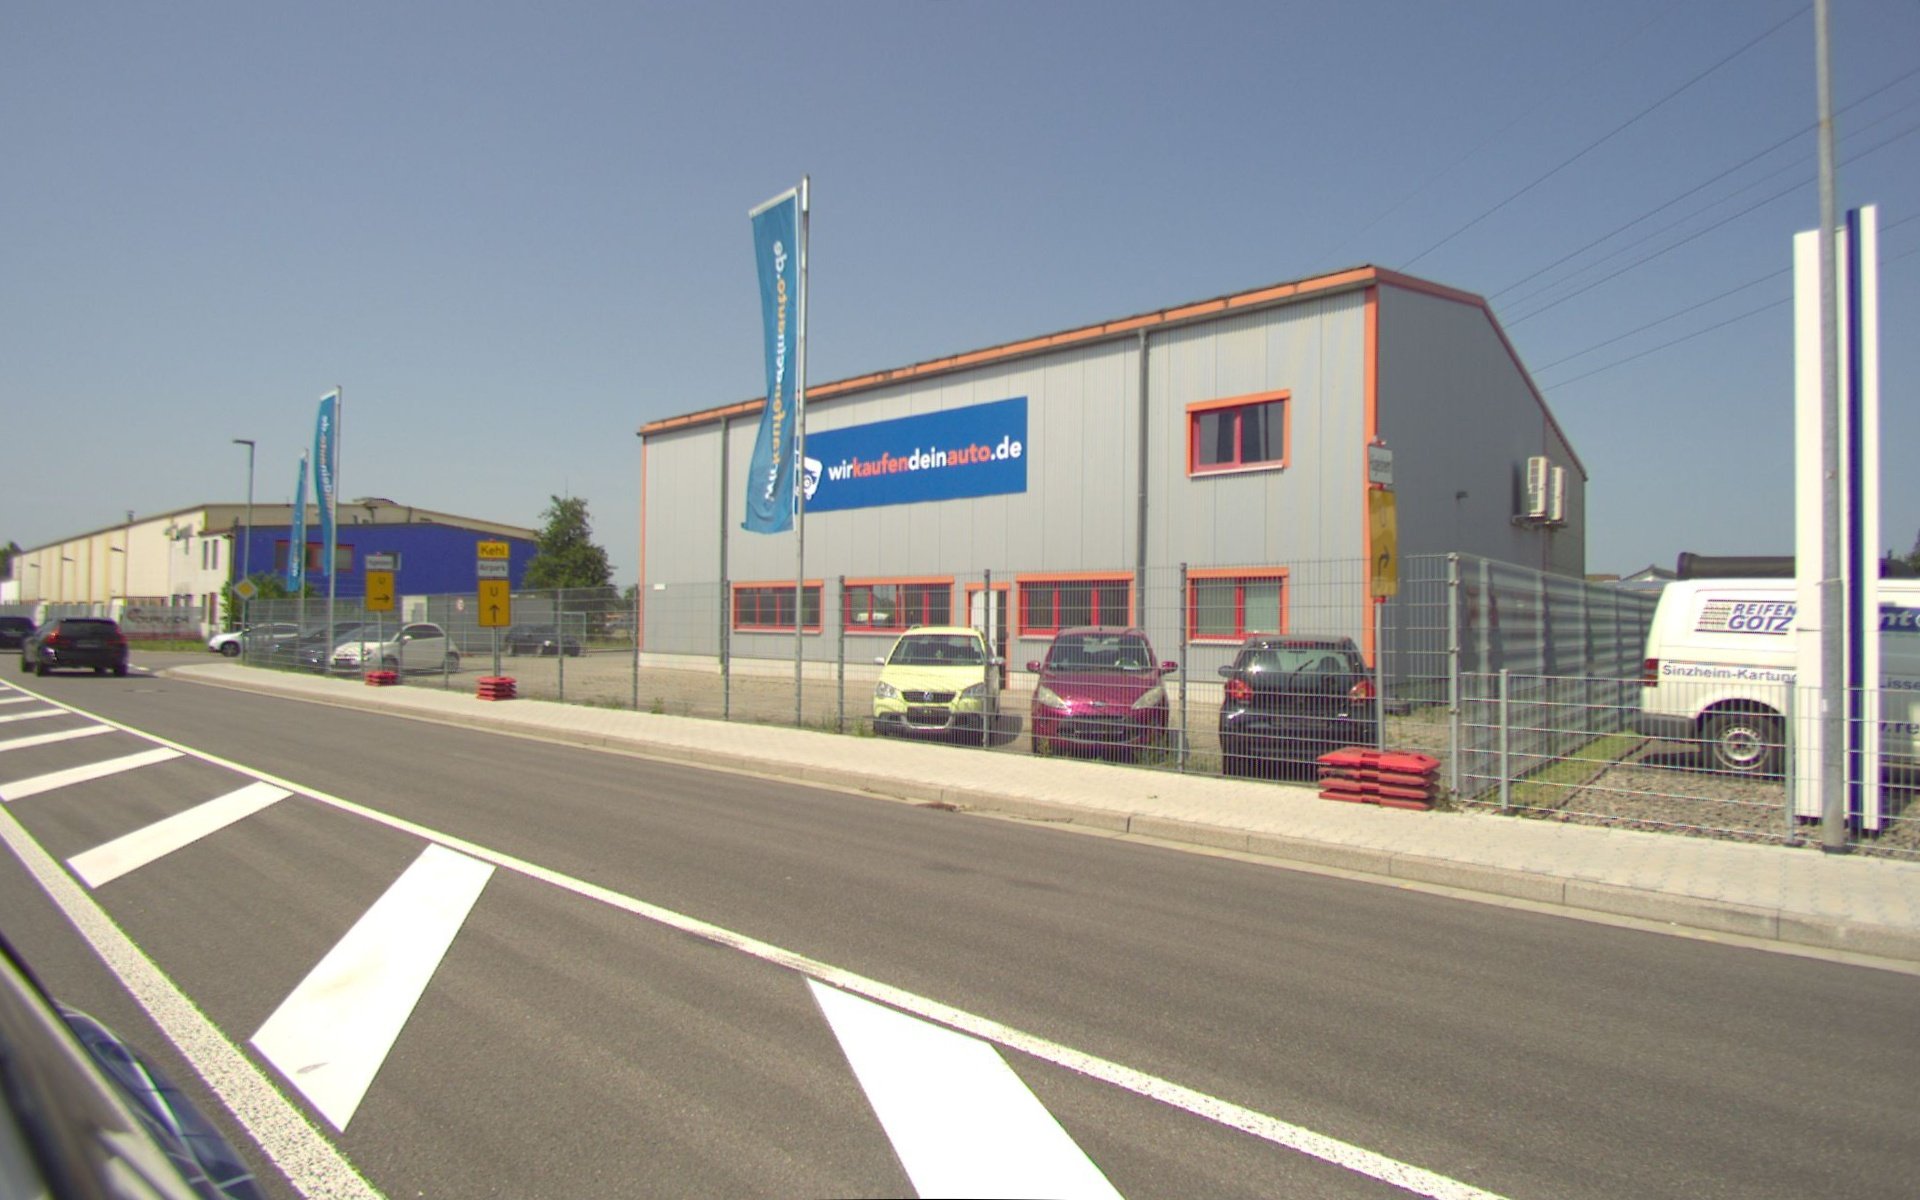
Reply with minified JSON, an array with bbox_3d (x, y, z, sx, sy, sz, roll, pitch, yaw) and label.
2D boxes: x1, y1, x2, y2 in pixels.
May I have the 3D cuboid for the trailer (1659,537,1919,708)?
[{"bbox_3d":[16.028,0.381,18.555,5.122,2.870,2.140,0,-1,41],"label":"trailer"}]

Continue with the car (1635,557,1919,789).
[{"bbox_3d":[9.238,0.671,9.434,4.680,2.029,1.972,0,-2,42],"label":"car"}]

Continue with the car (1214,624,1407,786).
[{"bbox_3d":[3.840,1.035,11.589,1.728,1.505,3.980,0,-2,15],"label":"car"}]

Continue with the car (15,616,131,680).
[{"bbox_3d":[-24.857,1.323,28.299,4.521,1.629,1.861,-1,-4,42],"label":"car"}]

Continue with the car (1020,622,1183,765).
[{"bbox_3d":[1.779,1.042,12.805,1.723,1.505,3.990,0,-2,8],"label":"car"}]

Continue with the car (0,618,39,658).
[{"bbox_3d":[-39.966,1.576,42.251,3.794,1.606,1.723,-1,-4,41],"label":"car"}]

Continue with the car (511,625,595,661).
[{"bbox_3d":[-17.932,1.878,44.509,3.997,1.514,1.751,-2,-3,40],"label":"car"}]

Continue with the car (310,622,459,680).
[{"bbox_3d":[-15.834,1.366,28.036,1.576,1.476,3.469,0,-2,15],"label":"car"}]

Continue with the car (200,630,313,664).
[{"bbox_3d":[-31.932,2.116,46.080,4.091,1.514,1.780,1,-2,-30],"label":"car"}]

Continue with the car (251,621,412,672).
[{"bbox_3d":[-19.948,1.472,32.256,1.772,1.514,3.949,-1,-3,37],"label":"car"}]

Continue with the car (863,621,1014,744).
[{"bbox_3d":[-0.160,1.074,14.563,1.722,1.505,4.086,0,-2,5],"label":"car"}]
